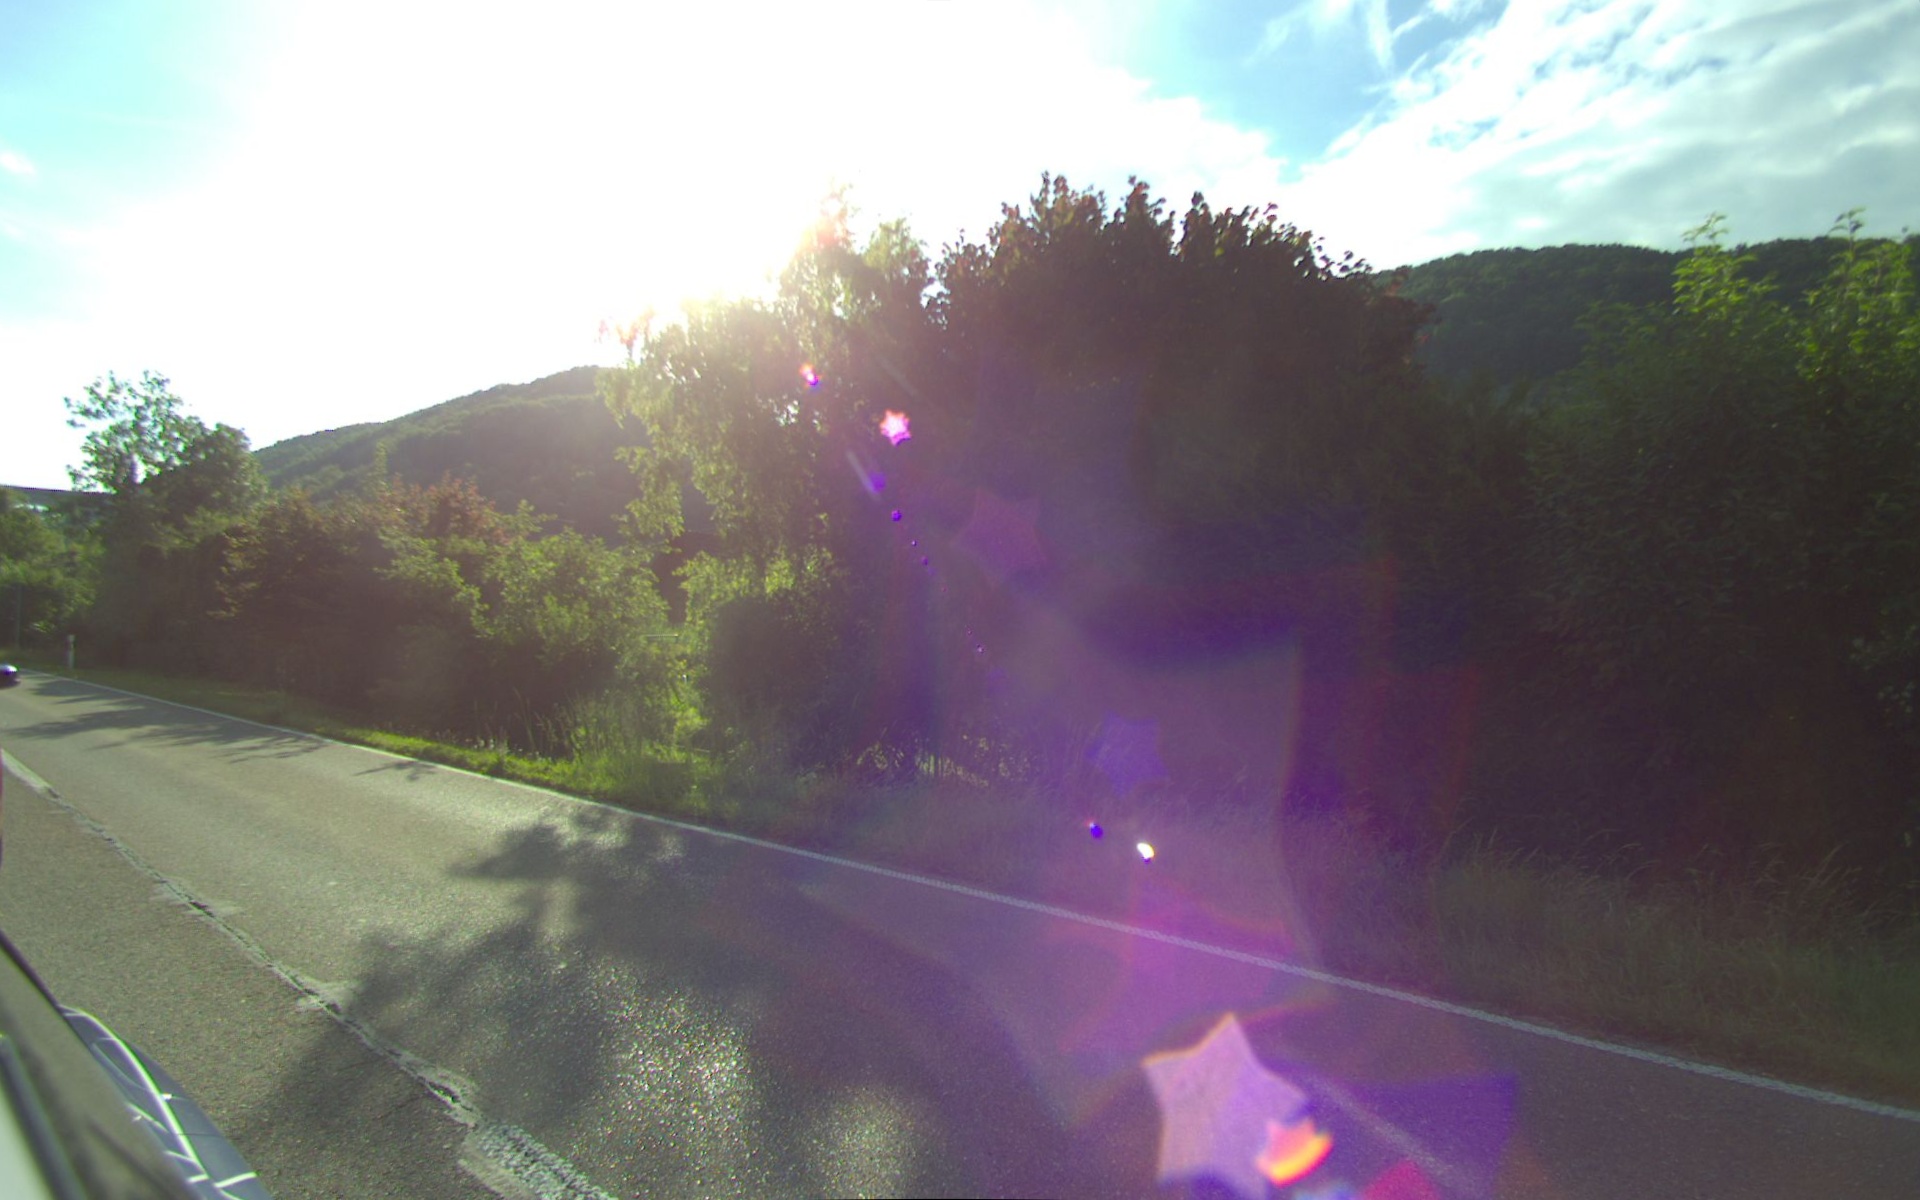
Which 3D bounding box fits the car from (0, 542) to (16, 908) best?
[{"bbox_3d":[-6.926,0.667,5.858,4.287,1.824,1.730,-1,0,42],"label":"car"}]
